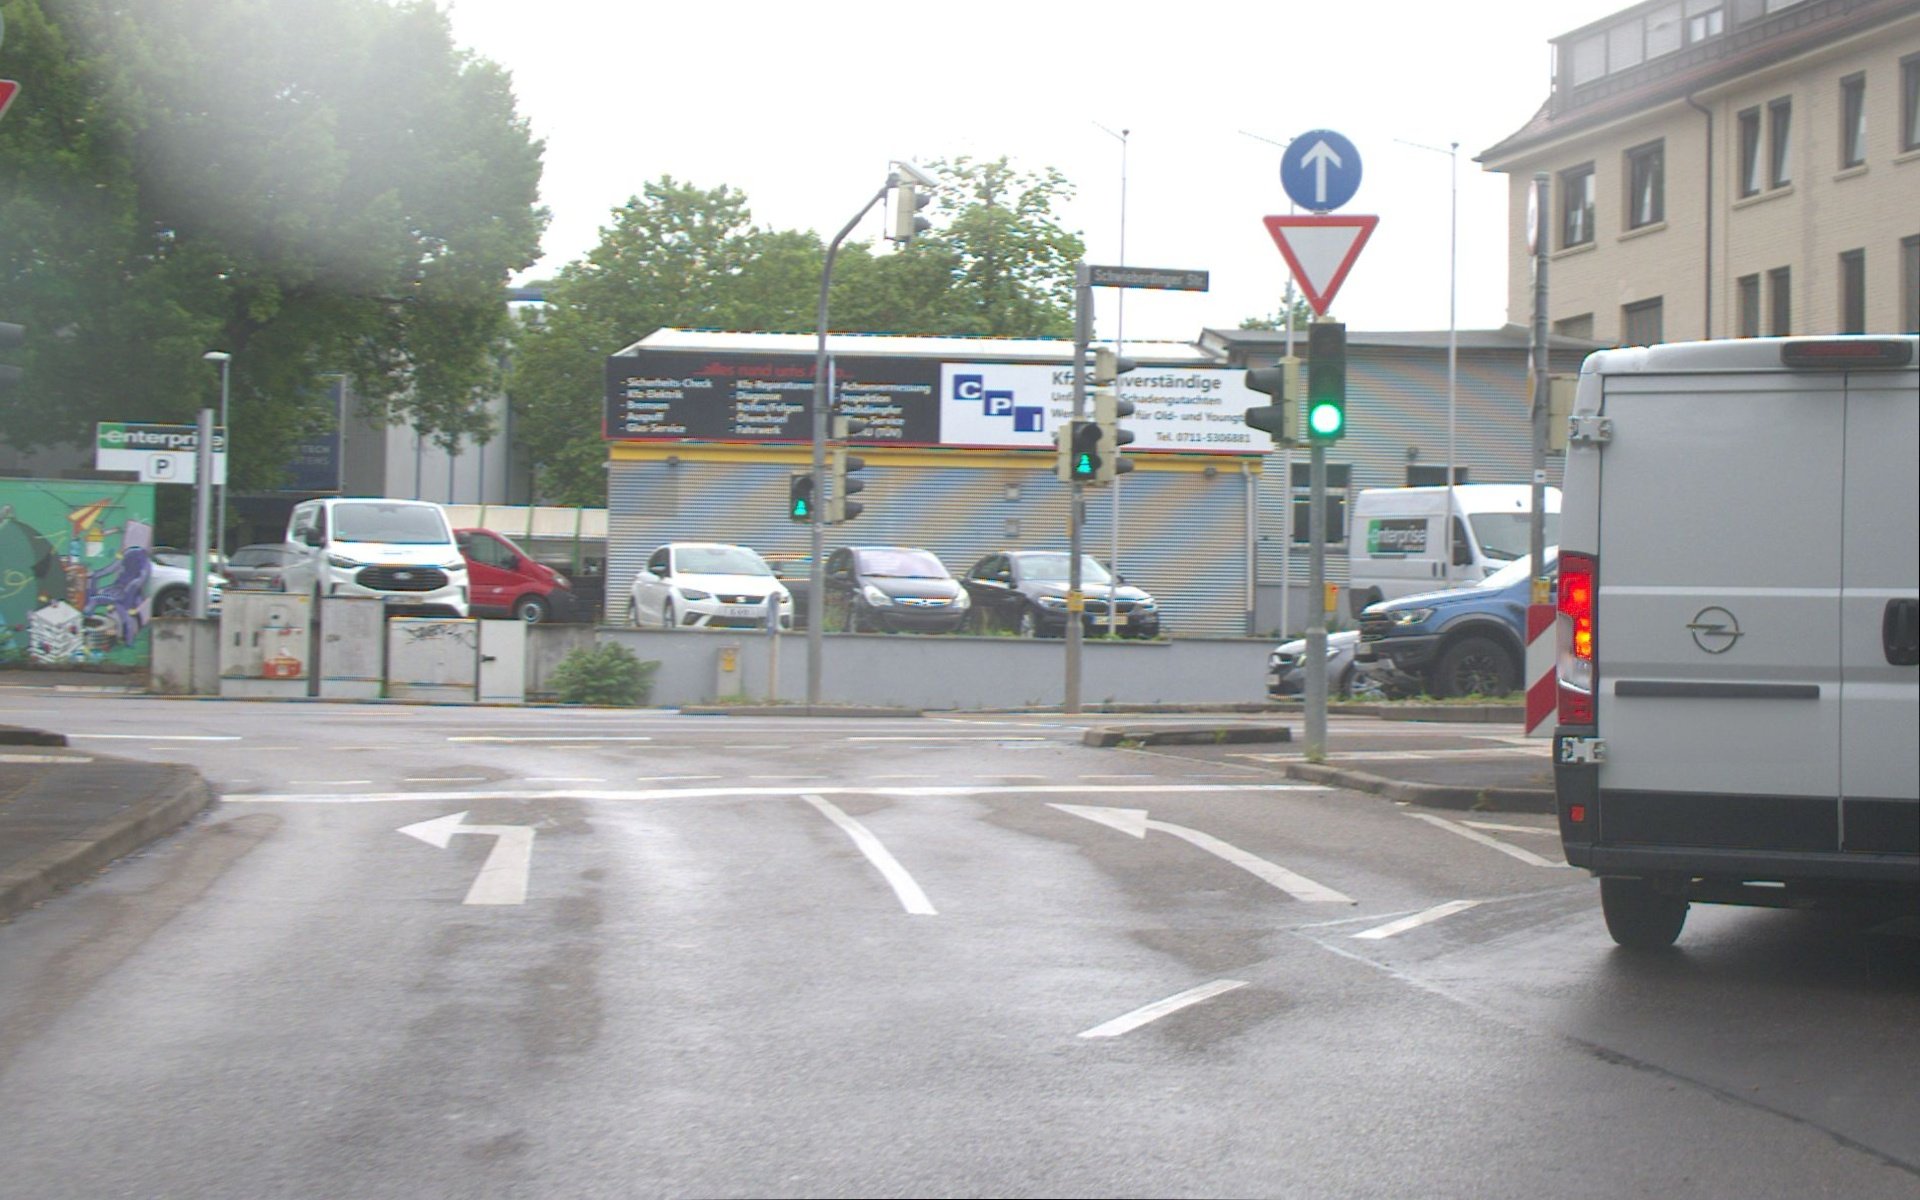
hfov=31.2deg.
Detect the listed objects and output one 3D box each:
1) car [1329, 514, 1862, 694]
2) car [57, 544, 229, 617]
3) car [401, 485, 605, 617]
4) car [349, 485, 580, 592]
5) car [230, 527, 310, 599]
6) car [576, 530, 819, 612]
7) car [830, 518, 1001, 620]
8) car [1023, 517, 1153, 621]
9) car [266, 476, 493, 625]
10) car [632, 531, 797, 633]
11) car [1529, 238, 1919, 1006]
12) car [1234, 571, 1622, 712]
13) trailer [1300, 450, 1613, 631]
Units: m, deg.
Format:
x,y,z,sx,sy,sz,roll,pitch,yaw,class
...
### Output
x,y,z,sx,sy,sz,roll,pitch,yaw,class
6.643,0.081,36.139,5.151,1.812,1.940,0,-2,-11,car
-13.774,-0.323,57.940,2.712,1.101,1.198,2,-2,-17,car
-9.273,-0.980,69.989,3.973,2.489,1.654,2,-2,-5,car
-9.555,-1.182,66.602,4.296,1.854,1.741,2,-2,-5,car
-13.869,-0.734,69.177,1.208,1.299,2.338,2,-2,-3,car
-4.741,-0.523,62.435,4.326,1.402,1.373,0,-2,-1,car
-0.671,-0.454,48.720,1.735,1.364,3.624,1,1,-12,car
1.807,-0.454,49.148,1.223,1.419,2.688,1,1,-12,car
-8.206,-0.631,48.205,2.212,1.796,5.373,2,-2,-19,car
-3.554,-0.277,49.195,1.866,1.364,3.624,1,1,-12,car
3.983,0.016,13.560,2.053,2.508,4.937,2,2,26,car
5.307,0.489,39.089,4.056,1.454,1.547,2,-2,-12,car
7.623,-0.831,53.792,2.386,2.420,7.121,2,-2,-13,trailer
